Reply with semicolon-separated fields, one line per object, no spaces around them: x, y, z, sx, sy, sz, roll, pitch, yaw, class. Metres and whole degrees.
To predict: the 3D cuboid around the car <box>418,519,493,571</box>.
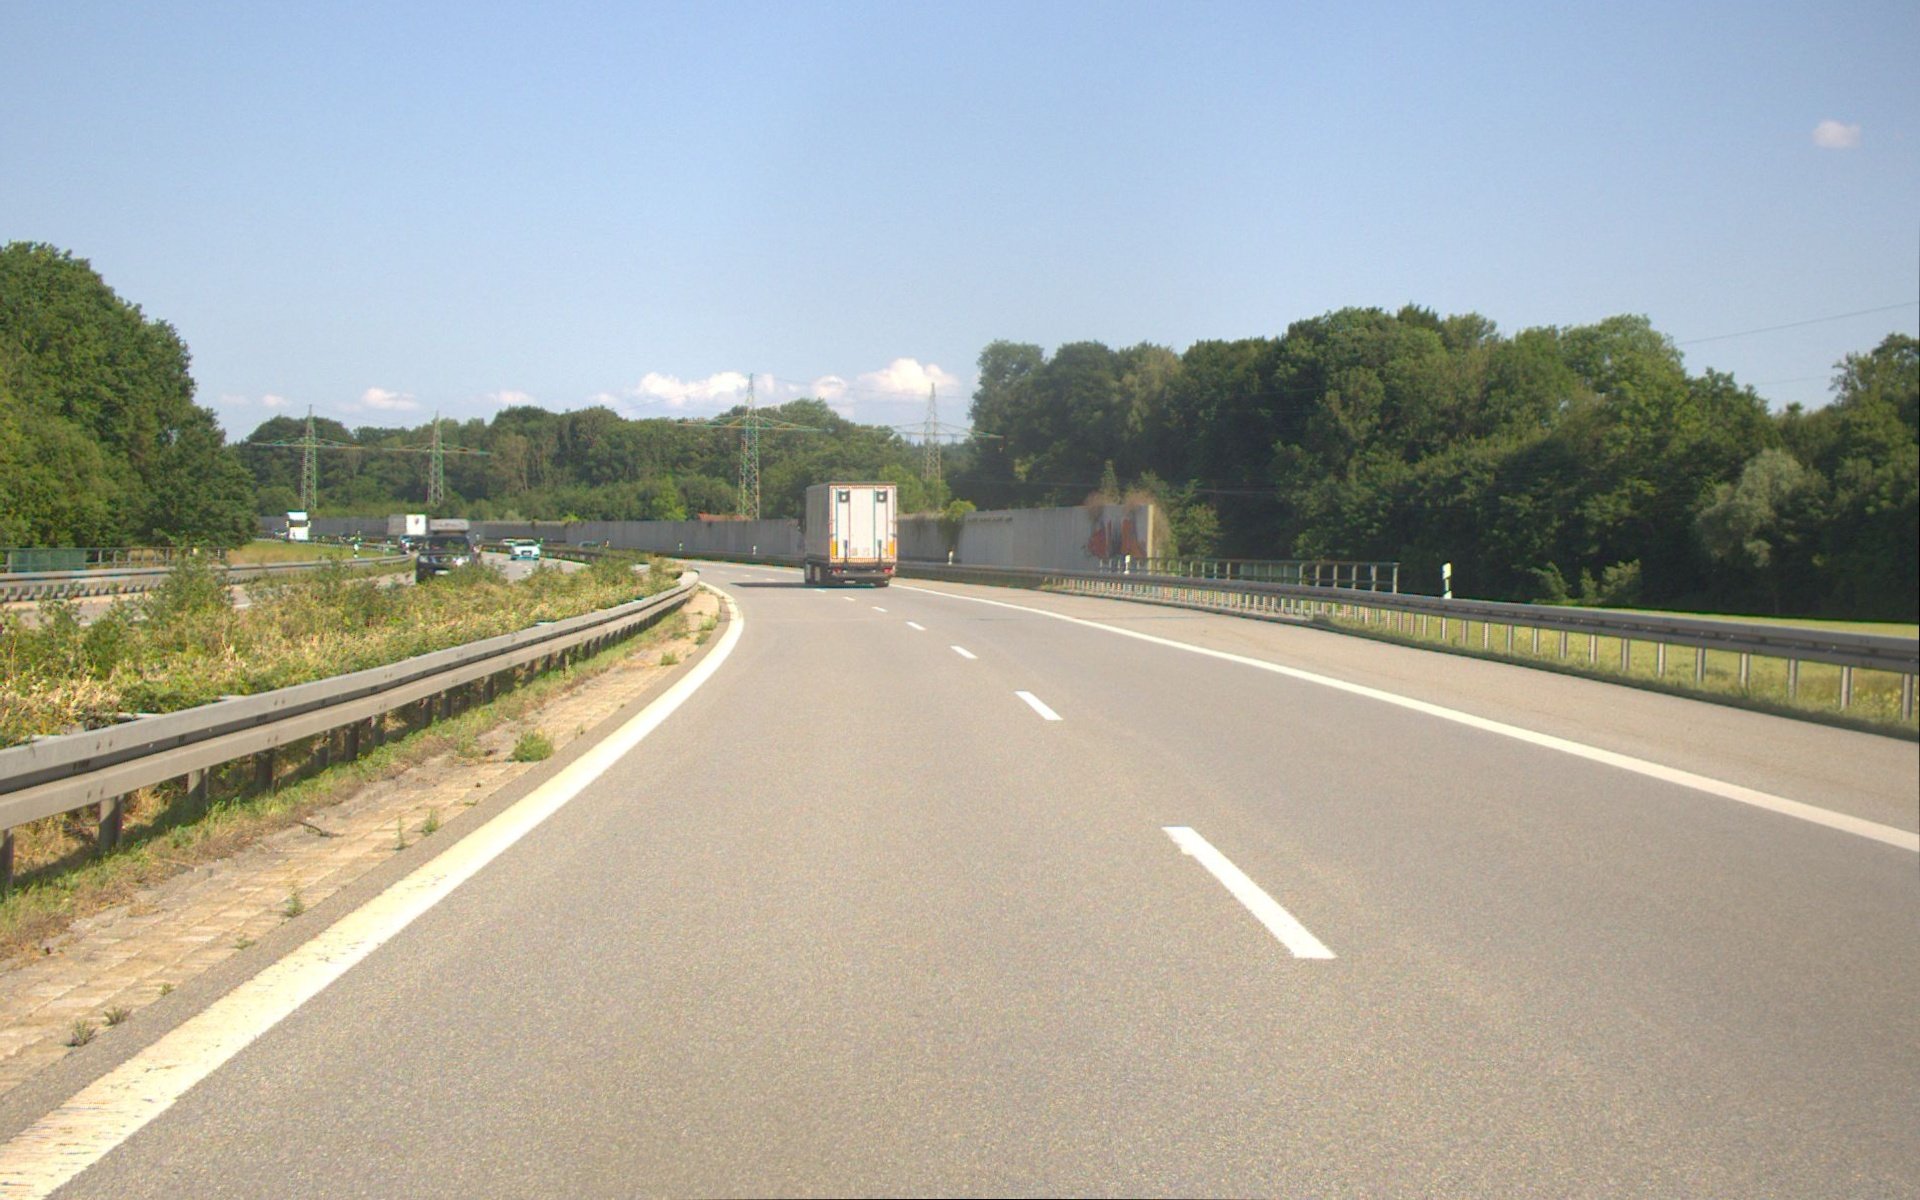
-16.737;-1.840;114.265;1.993;1.673;5.318;-1;1;-4;car

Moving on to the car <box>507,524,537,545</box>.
-30.604;-4.594;240.134;1.820;1.429;4.651;1;1;-11;car

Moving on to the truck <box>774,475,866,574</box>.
-5.827;-3.128;142.146;2.829;3.998;6.589;0;1;-11;truck

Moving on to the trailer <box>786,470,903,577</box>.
-4.666;-3.011;135.967;2.883;4.052;12.424;0;1;-10;trailer
